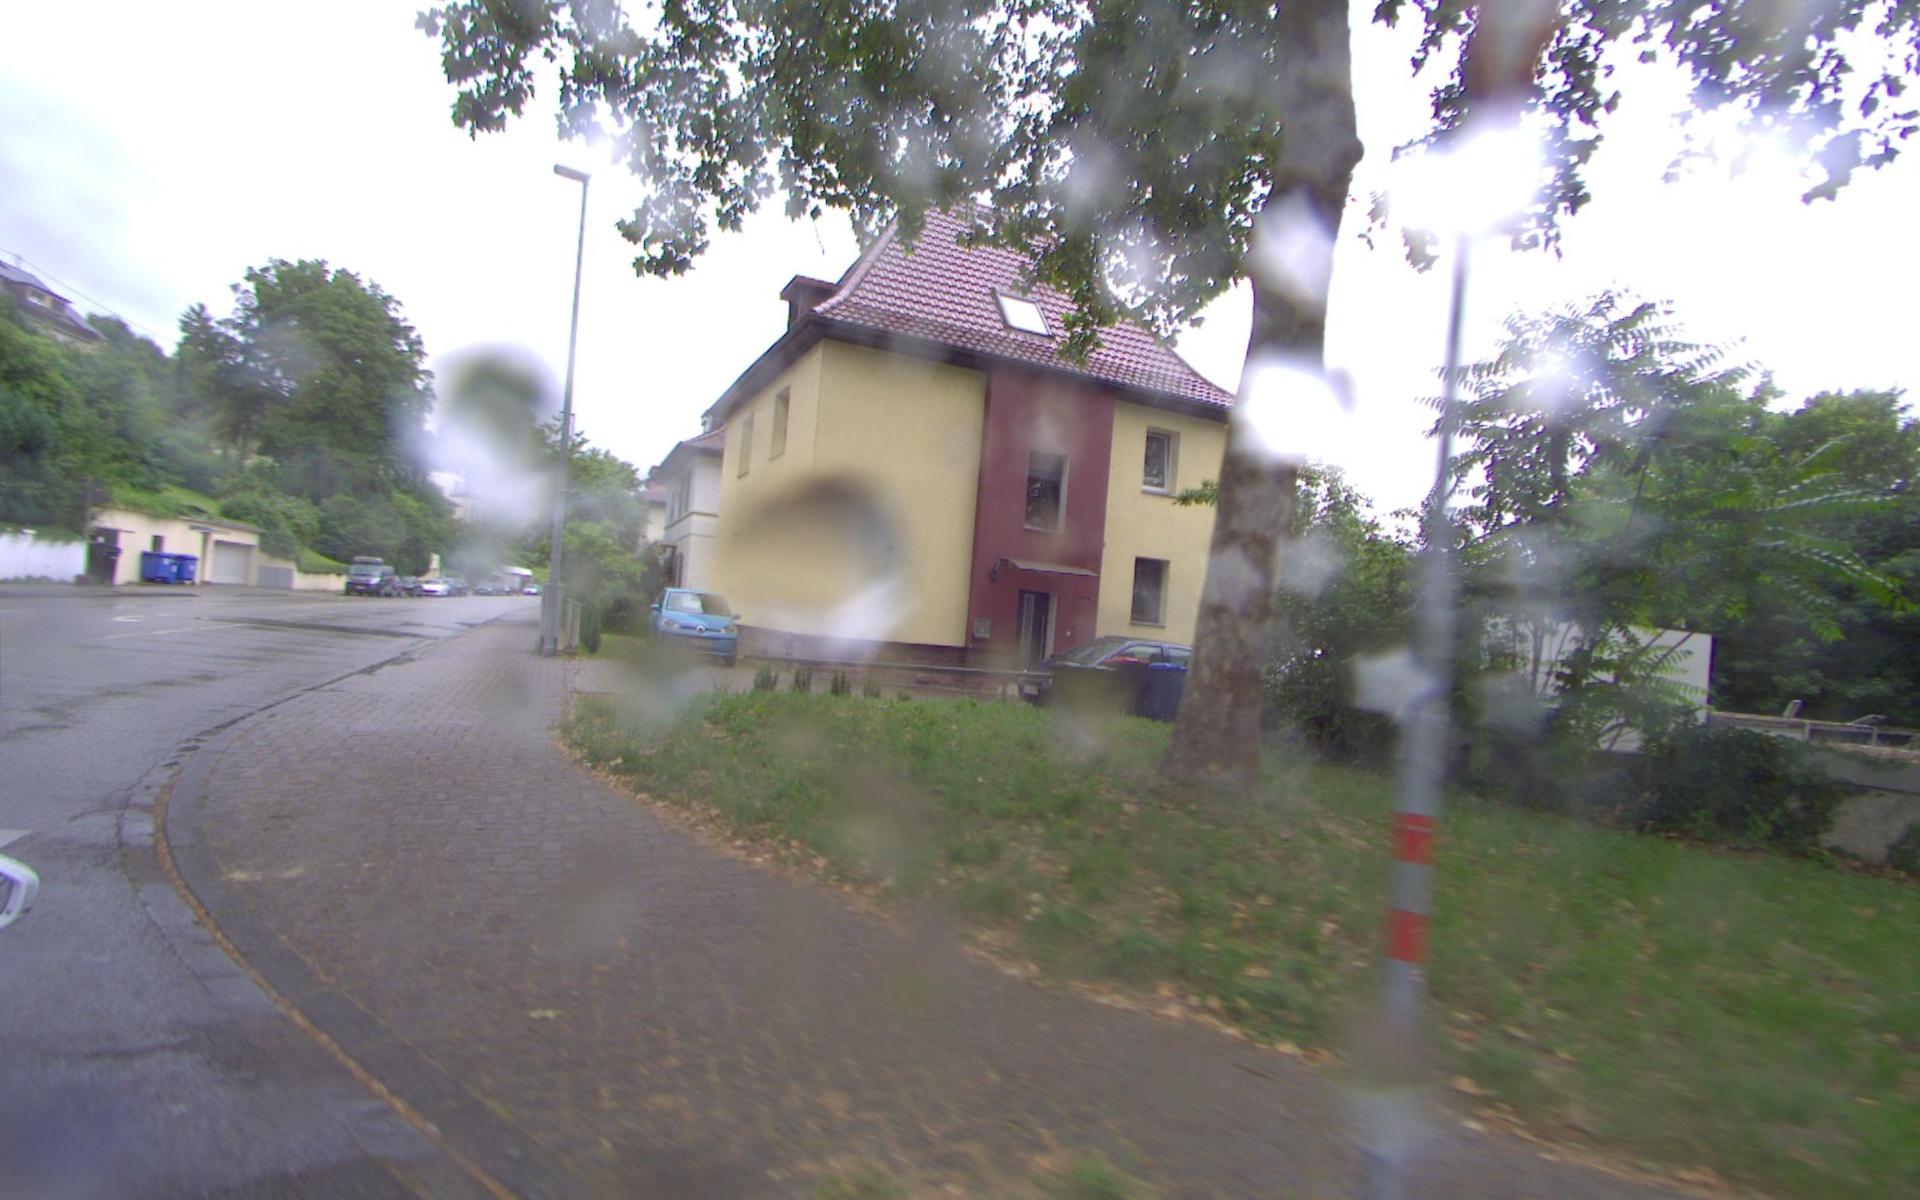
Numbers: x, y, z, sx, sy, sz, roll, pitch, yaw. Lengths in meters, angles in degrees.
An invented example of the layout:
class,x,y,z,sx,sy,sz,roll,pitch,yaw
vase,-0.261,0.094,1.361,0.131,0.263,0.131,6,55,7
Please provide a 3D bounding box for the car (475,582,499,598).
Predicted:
class,x,y,z,sx,sy,sz,roll,pitch,yaw
car,-50.835,-1.076,108.163,1.692,1.570,3.805,5,0,-15

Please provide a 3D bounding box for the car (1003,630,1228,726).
class,x,y,z,sx,sy,sz,roll,pitch,yaw
car,2.633,1.323,17.038,3.409,1.315,1.536,5,0,-25

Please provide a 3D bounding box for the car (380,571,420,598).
class,x,y,z,sx,sy,sz,roll,pitch,yaw
car,-39.409,-1.082,70.889,1.797,1.703,3.982,5,0,-20

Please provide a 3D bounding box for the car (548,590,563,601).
class,x,y,z,sx,sy,sz,roll,pitch,yaw
car,-65.179,-0.726,162.130,1.734,1.475,3.804,5,0,-16

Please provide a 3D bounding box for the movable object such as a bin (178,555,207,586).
class,x,y,z,sx,sy,sz,roll,pitch,yaw
movable object such as a bin,-35.033,-1.339,45.945,0.702,1.353,0.831,5,1,-15

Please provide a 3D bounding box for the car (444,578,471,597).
class,x,y,z,sx,sy,sz,roll,pitch,yaw
car,-45.501,-1.132,91.119,1.712,1.570,3.799,5,0,-20

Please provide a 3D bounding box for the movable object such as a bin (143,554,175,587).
class,x,y,z,sx,sy,sz,roll,pitch,yaw
movable object such as a bin,-34.433,-1.248,43.258,0.702,1.353,0.831,5,1,-15

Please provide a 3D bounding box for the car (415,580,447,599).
class,x,y,z,sx,sy,sz,roll,pitch,yaw
car,-42.978,-0.849,81.799,1.691,1.362,3.664,5,0,-20

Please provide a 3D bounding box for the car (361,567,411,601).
class,x,y,z,sx,sy,sz,roll,pitch,yaw
car,-37.861,-1.077,66.414,1.970,2.039,3.984,5,0,-18

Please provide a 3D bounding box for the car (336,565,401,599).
class,x,y,z,sx,sy,sz,roll,pitch,yaw
car,-35.838,-1.090,61.106,2.268,1.775,5.160,5,0,-18

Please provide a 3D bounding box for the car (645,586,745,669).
class,x,y,z,sx,sy,sz,roll,pitch,yaw
car,-5.671,0.523,21.291,1.627,1.465,3.533,5,0,-20

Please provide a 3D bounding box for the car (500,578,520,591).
class,x,y,z,sx,sy,sz,roll,pitch,yaw
car,-56.459,-1.995,126.265,1.705,1.475,3.803,5,0,-17

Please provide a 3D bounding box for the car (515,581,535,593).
class,x,y,z,sx,sy,sz,roll,pitch,yaw
car,-60.418,-1.794,139.709,1.797,1.475,3.807,5,0,-13
